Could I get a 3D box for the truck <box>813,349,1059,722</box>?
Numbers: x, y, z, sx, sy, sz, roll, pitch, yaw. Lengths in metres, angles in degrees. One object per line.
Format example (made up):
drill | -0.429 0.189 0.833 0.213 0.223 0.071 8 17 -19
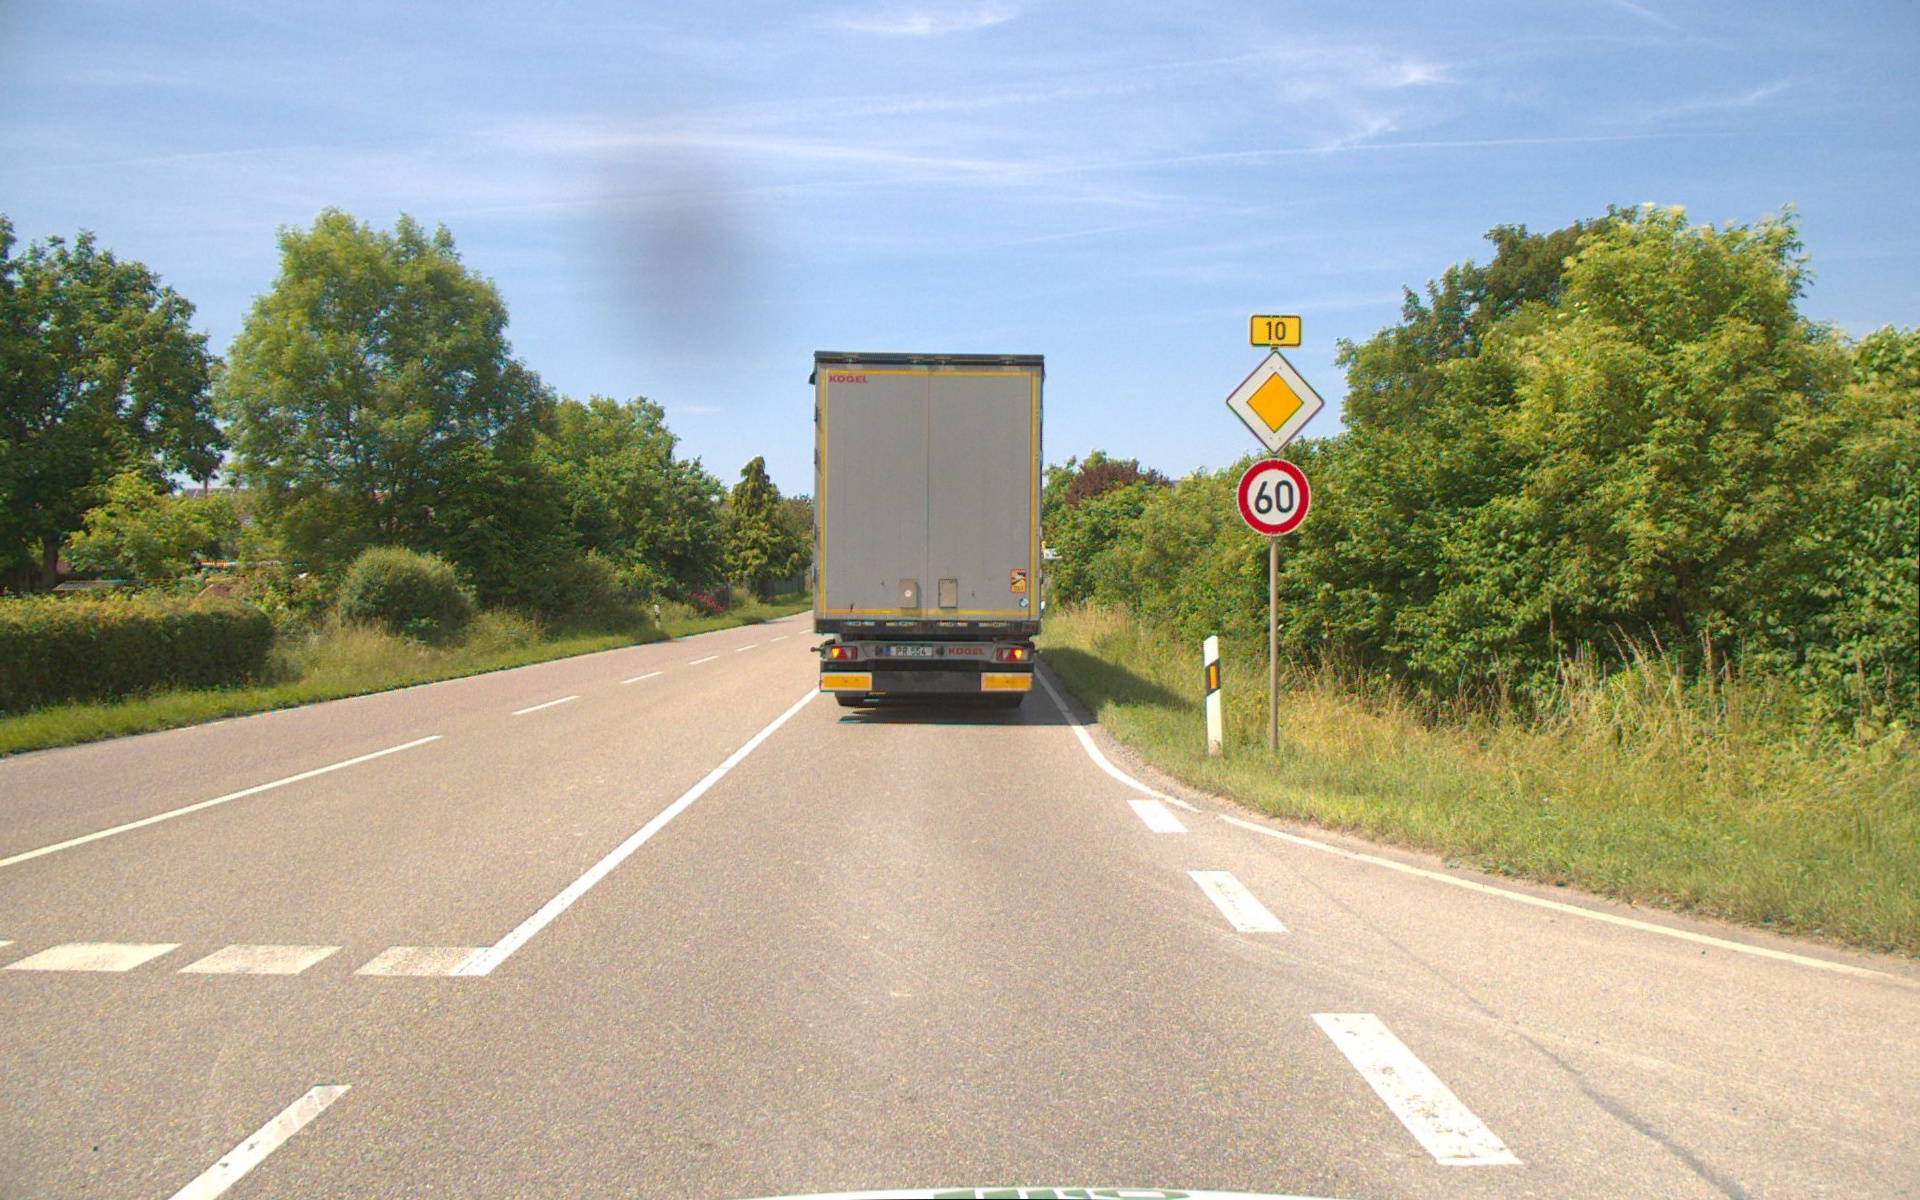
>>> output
truck | -0.346 -0.728 22.276 2.594 3.985 8.823 1 0 -1
